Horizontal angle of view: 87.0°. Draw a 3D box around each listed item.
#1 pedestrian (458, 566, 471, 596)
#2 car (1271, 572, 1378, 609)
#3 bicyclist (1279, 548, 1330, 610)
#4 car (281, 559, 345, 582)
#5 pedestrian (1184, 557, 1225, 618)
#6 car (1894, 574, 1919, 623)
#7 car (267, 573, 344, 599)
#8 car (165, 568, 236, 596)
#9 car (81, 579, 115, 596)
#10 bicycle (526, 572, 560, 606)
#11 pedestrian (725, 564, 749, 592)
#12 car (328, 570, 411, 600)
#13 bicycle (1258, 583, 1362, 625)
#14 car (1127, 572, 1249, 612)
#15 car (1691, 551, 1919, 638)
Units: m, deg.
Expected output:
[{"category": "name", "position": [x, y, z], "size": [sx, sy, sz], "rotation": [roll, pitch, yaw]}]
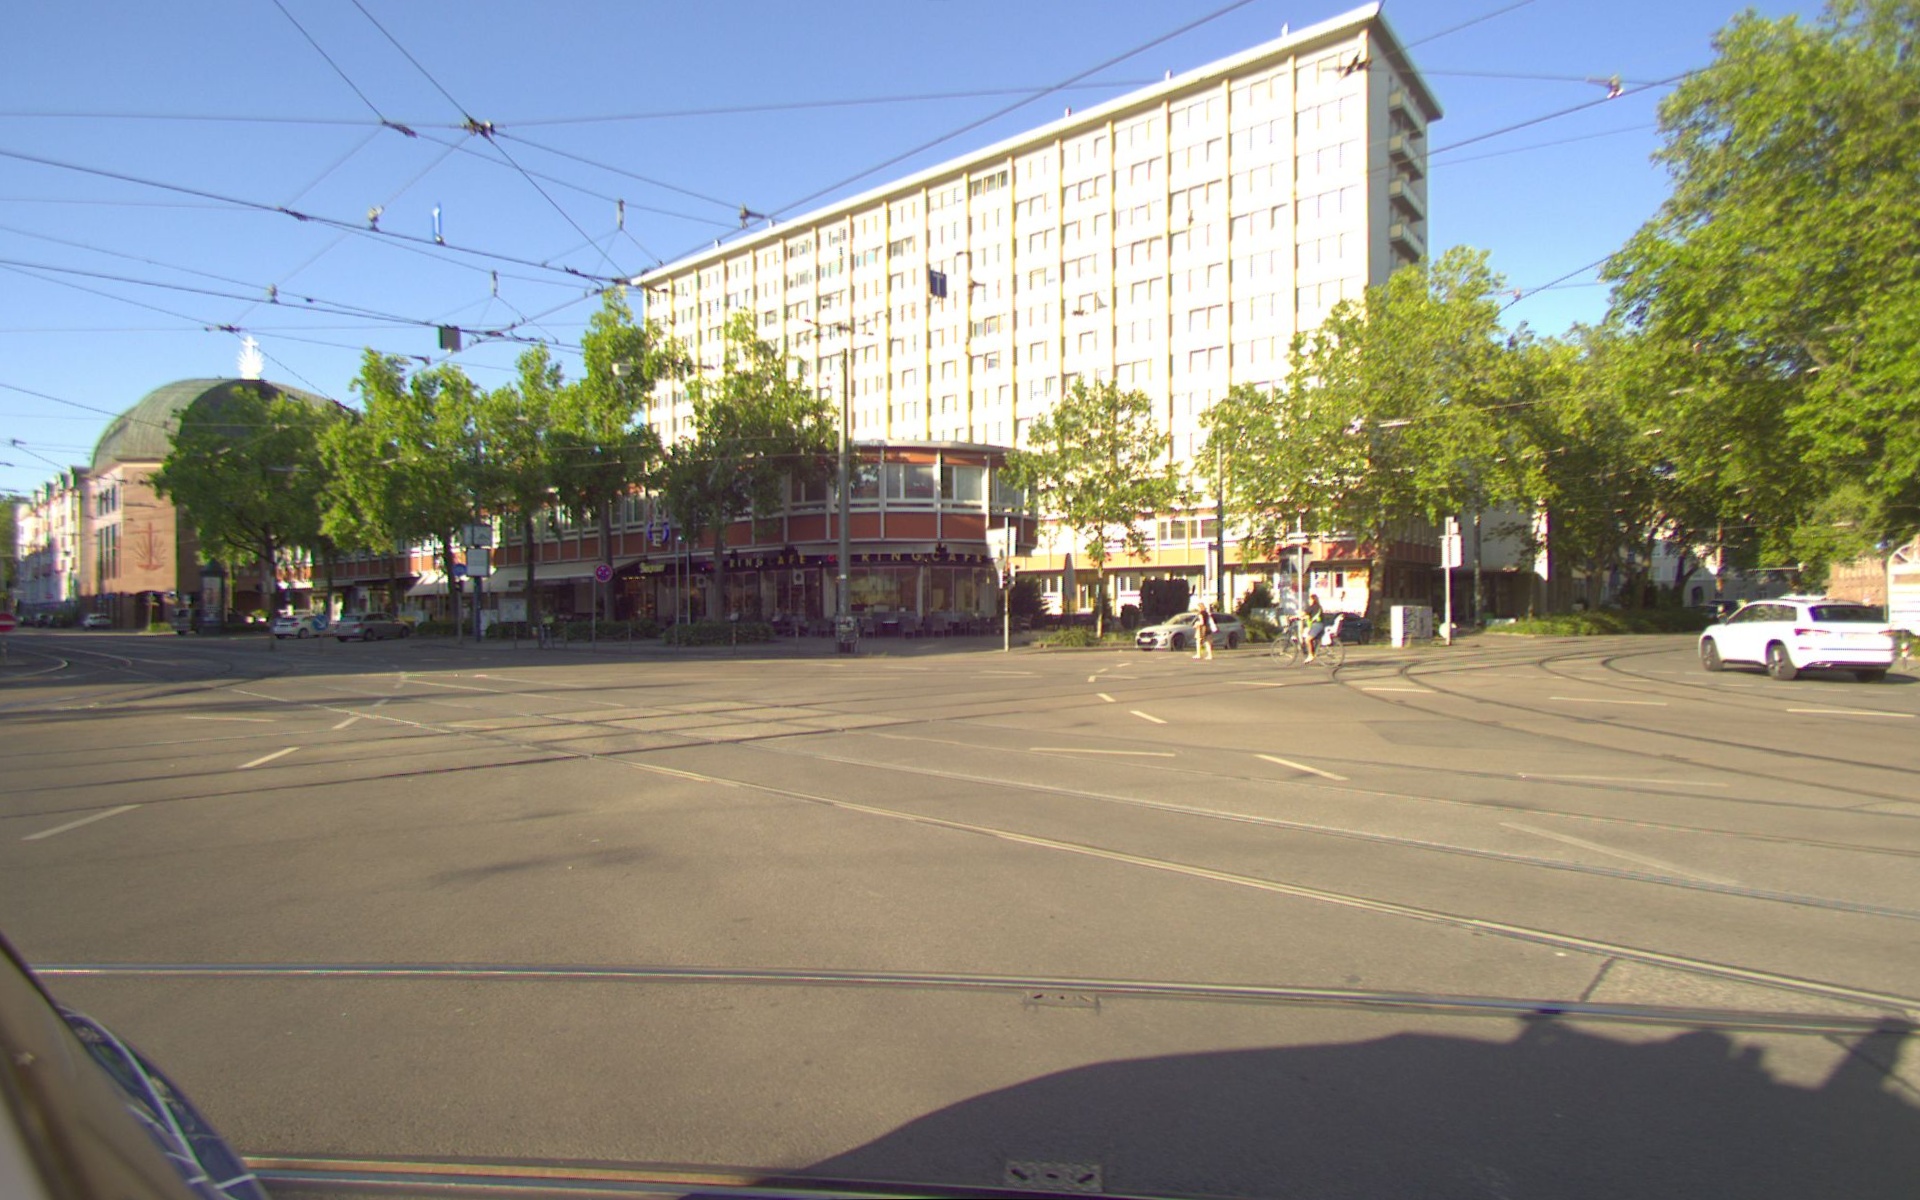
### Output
[{"category": "pedestrian", "position": [-29.741, -1.108, 60.681], "size": [0.626, 1.782, 0.771], "rotation": [0, 0, -32]}, {"category": "car", "position": [15.137, -0.362, 41.968], "size": [4.380, 1.432, 1.896], "rotation": [0, -1, -32]}, {"category": "bicyclist", "position": [8.449, -0.526, 24.787], "size": [0.896, 1.478, 0.832], "rotation": [2, 2, 43]}, {"category": "car", "position": [-63.655, -2.868, 99.634], "size": [1.998, 2.029, 4.921], "rotation": [-1, -1, 39]}, {"category": "pedestrian", "position": [6.999, -0.353, 28.966], "size": [0.857, 1.695, 0.698], "rotation": [1, -3, -40]}, {"category": "car", "position": [32.083, -0.057, 31.741], "size": [3.998, 1.521, 1.776], "rotation": [0, 2, 41]}, {"category": "car", "position": [-40.682, -0.869, 63.034], "size": [1.778, 1.486, 3.988], "rotation": [-1, 1, 10]}, {"category": "car", "position": [-55.731, -1.337, 74.334], "size": [1.889, 1.979, 3.992], "rotation": [-1, 1, 7]}, {"category": "car", "position": [-84.427, -1.243, 99.124], "size": [3.997, 1.615, 1.886], "rotation": [-1, 1, 40]}, {"category": "bicycle", "position": [-15.784, -0.414, 38.263], "size": [0.574, 1.244, 1.858], "rotation": [-2, 0, -43]}, {"category": "pedestrian", "position": [-10.520, -1.038, 47.742], "size": [0.826, 1.272, 0.910], "rotation": [0, -1, -33]}, {"category": "car", "position": [-32.579, -0.851, 55.953], "size": [1.778, 1.565, 3.988], "rotation": [-1, 1, 10]}, {"category": "bicycle", "position": [8.524, 0.076, 24.726], "size": [2.265, 0.934, 0.832], "rotation": [2, 2, 43]}, {"category": "car", "position": [8.573, -0.268, 37.980], "size": [4.380, 1.432, 1.896], "rotation": [0, -1, -32]}, {"category": "car", "position": [17.671, -0.077, 21.376], "size": [1.980, 1.632, 4.492], "rotation": [-1, -1, 13]}]
